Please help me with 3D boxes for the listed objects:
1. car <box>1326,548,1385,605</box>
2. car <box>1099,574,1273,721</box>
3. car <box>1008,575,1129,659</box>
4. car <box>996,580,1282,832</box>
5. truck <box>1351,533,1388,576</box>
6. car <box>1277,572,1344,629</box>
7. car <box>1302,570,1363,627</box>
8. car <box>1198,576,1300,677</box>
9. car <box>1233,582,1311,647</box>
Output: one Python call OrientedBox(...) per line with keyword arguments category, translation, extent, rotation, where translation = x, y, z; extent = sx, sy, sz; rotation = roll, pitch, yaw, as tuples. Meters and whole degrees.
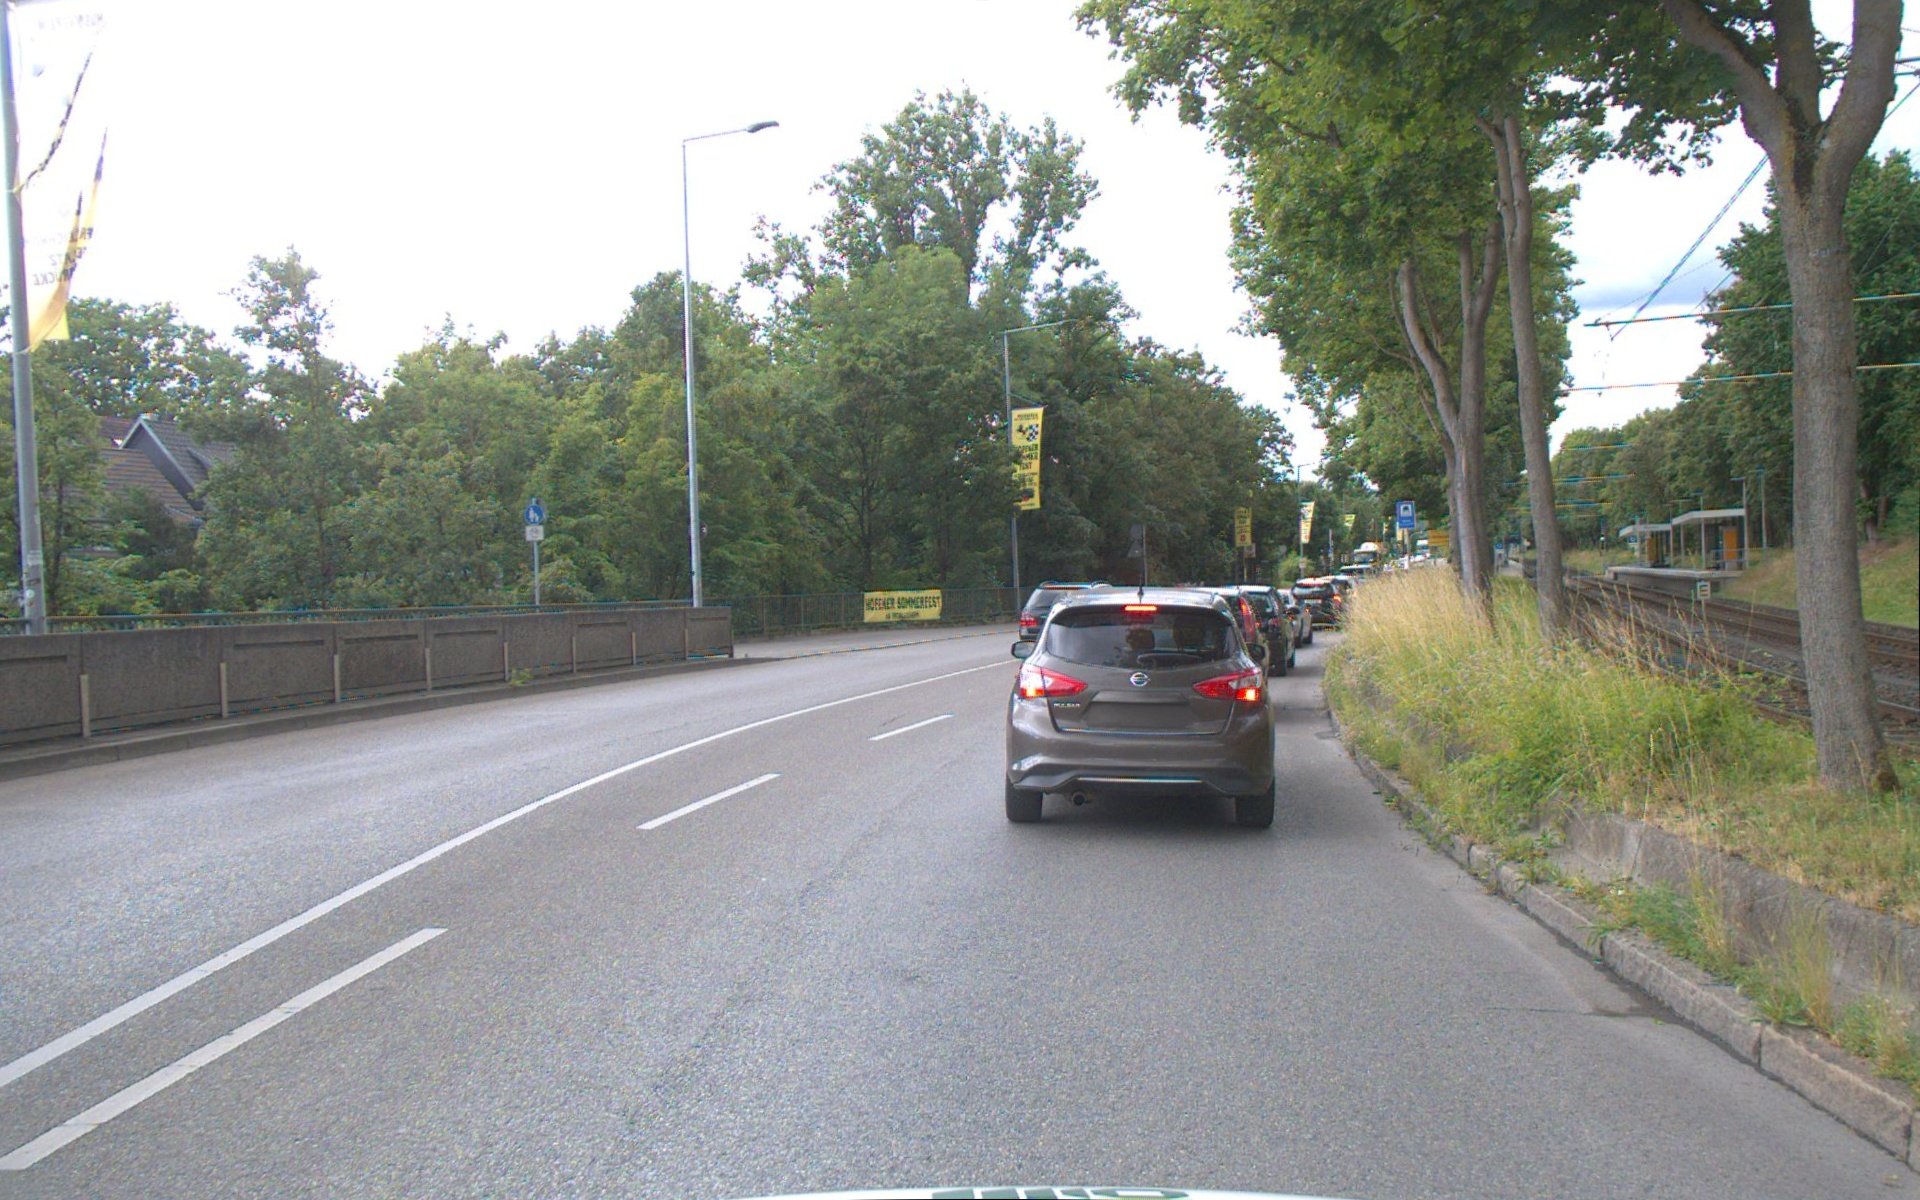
OrientedBox(category="car", translation=(15.067, -0.892, 62.896), extent=(1.851, 2.049, 4.002), rotation=(-1, 0, 18))
OrientedBox(category="car", translation=(2.843, 0.541, 20.122), extent=(1.852, 1.601, 4.003), rotation=(-1, -1, 11))
OrientedBox(category="car", translation=(2.214, 0.307, 32.679), extent=(1.812, 1.512, 4.425), rotation=(-1, 0, 11))
OrientedBox(category="car", translation=(1.343, 0.650, 12.080), extent=(1.737, 1.520, 4.003), rotation=(0, 0, 7))
OrientedBox(category="truck", translation=(39.214, -4.275, 158.139), extent=(2.599, 4.007, 10.115), rotation=(-1, 1, 19))
OrientedBox(category="car", translation=(10.222, 0.017, 48.088), extent=(1.766, 1.567, 4.003), rotation=(0, 0, 14))
OrientedBox(category="car", translation=(12.344, -0.019, 54.655), extent=(1.682, 1.723, 4.002), rotation=(-2, -2, 16))
OrientedBox(category="car", translation=(4.951, 0.426, 28.403), extent=(1.544, 1.565, 4.003), rotation=(-2, 0, 10))
OrientedBox(category="car", translation=(7.294, 0.319, 38.524), extent=(1.468, 1.388, 3.590), rotation=(-2, 0, 15))
